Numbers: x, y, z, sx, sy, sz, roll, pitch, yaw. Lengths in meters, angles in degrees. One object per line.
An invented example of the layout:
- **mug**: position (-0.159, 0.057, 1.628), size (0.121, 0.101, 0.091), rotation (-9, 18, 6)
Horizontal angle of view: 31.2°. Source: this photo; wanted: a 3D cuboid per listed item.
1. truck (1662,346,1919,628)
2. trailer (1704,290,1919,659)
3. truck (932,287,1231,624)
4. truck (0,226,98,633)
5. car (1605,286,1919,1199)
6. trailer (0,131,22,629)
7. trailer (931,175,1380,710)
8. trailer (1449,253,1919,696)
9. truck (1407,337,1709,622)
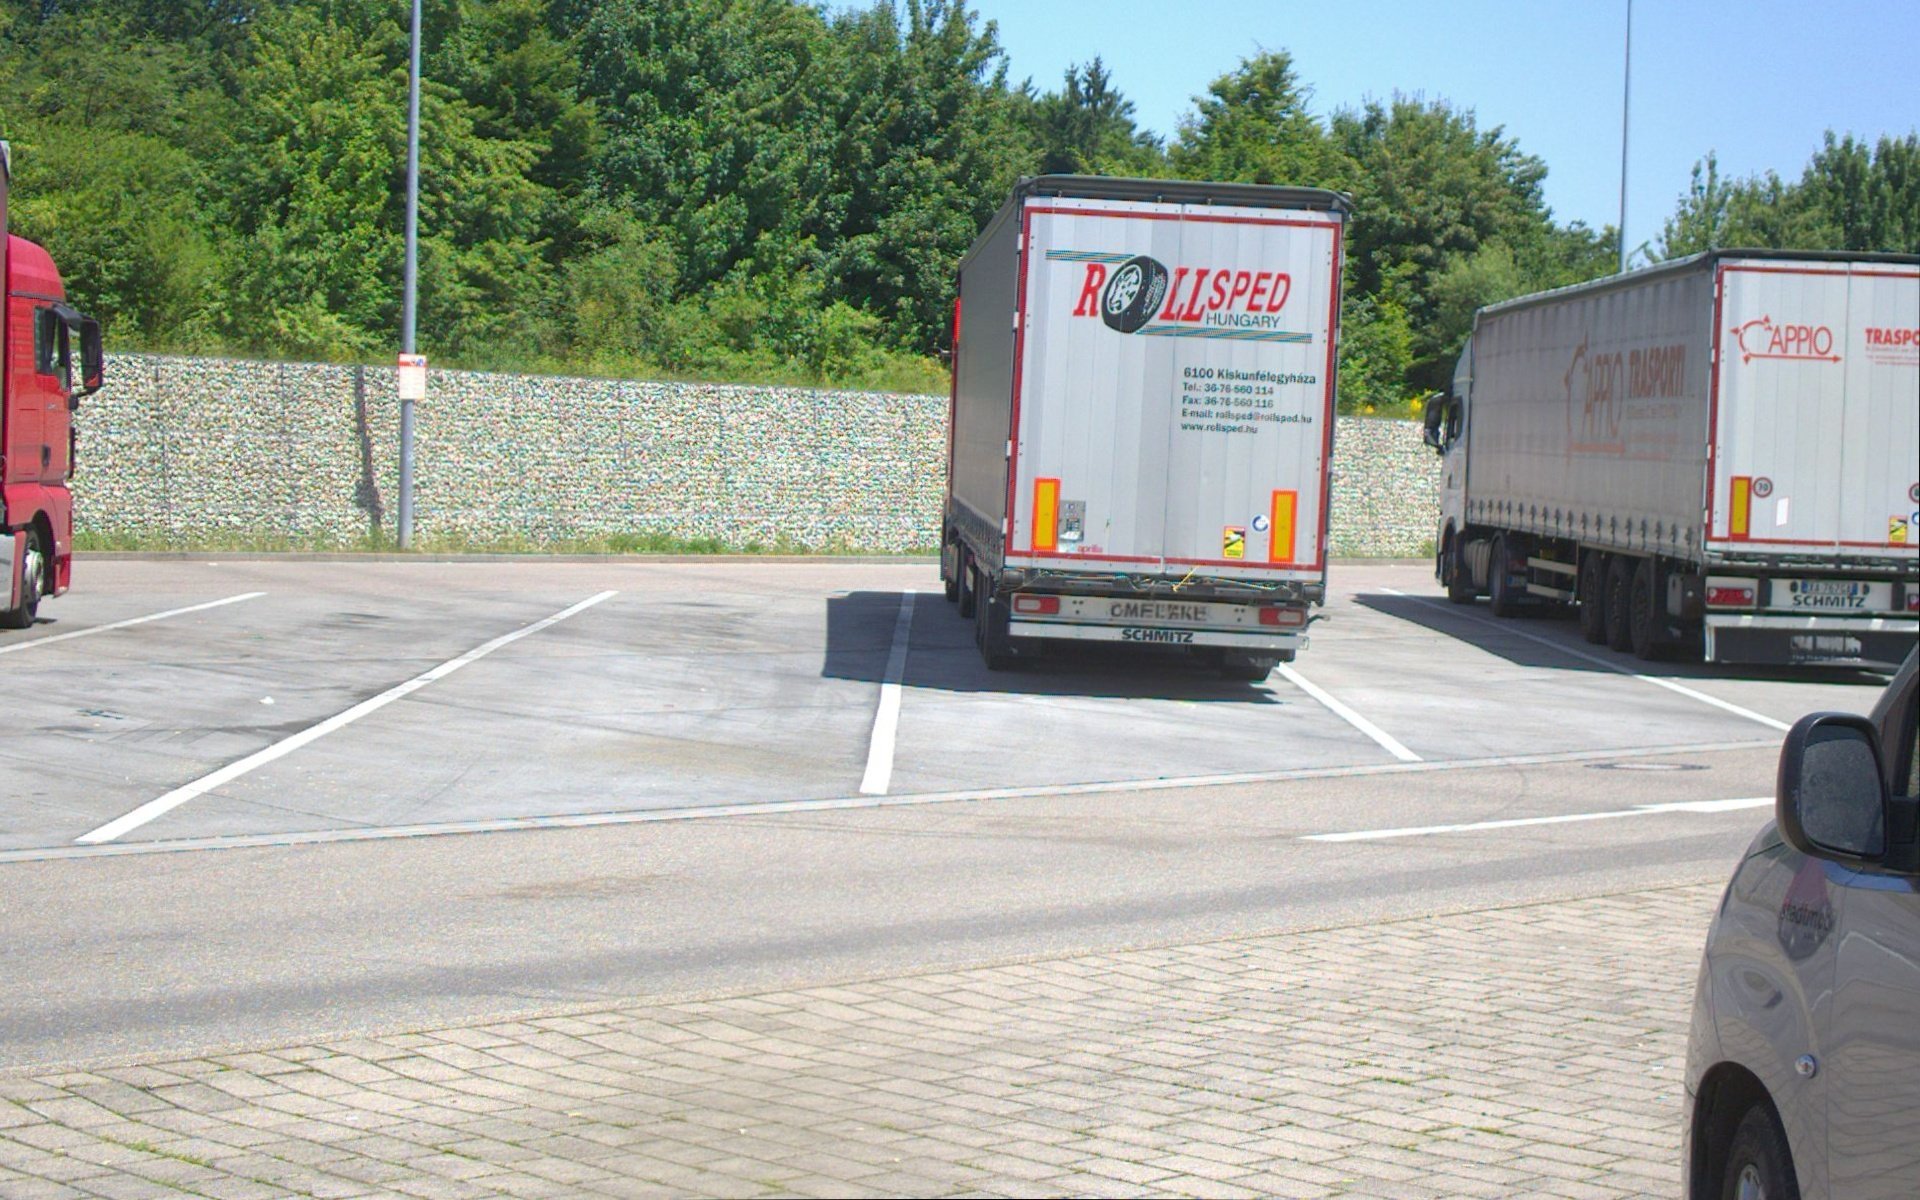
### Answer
- **truck**: position (11.677, -1.575, 46.793), size (2.803, 3.509, 5.900), rotation (2, 3, -1)
- **trailer**: position (11.745, -1.450, 39.783), size (2.811, 3.976, 14.396), rotation (2, 3, -1)
- **truck**: position (1.301, -1.733, 40.508), size (3.103, 3.554, 5.900), rotation (2, 3, -1)
- **truck**: position (-9.246, -1.444, 28.138), size (2.851, 3.316, 5.900), rotation (2, 3, -1)
- **car**: position (2.146, 0.590, 3.848), size (1.869, 1.857, 4.177), rotation (2, 2, -2)
- **trailer**: position (-9.201, -1.488, 21.564), size (2.791, 4.071, 14.133), rotation (2, 3, -1)
- **trailer**: position (1.439, -1.590, 33.616), size (3.133, 3.976, 14.397), rotation (2, 3, -1)
- **trailer**: position (8.104, -1.519, 38.730), size (2.811, 3.976, 14.396), rotation (2, 3, -1)
- **truck**: position (8.010, -1.695, 46.830), size (2.862, 3.509, 5.900), rotation (2, 3, -1)
